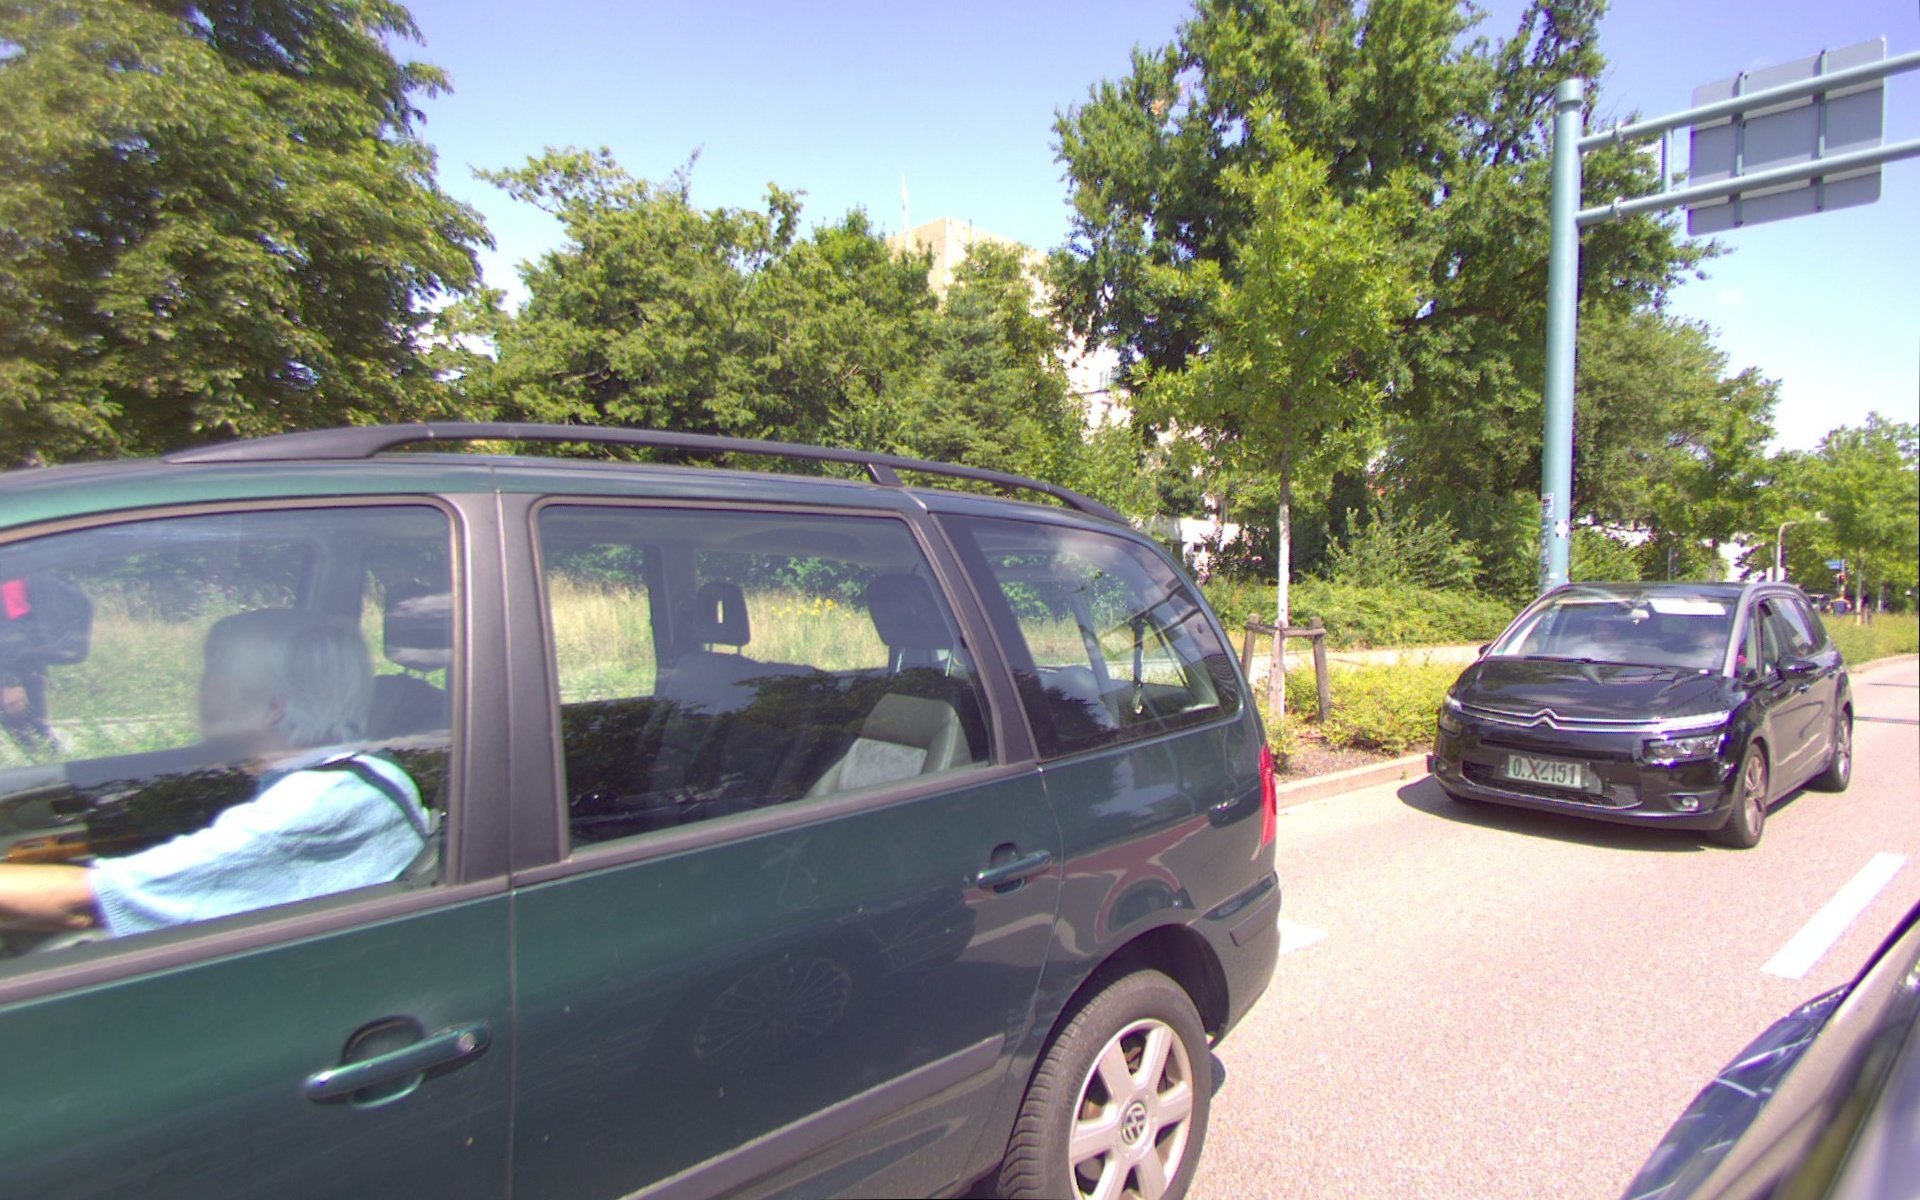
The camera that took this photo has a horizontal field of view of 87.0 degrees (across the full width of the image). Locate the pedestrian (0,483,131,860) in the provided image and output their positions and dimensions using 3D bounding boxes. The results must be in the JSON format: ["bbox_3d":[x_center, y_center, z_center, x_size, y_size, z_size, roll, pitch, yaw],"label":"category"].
[{"bbox_3d":[-4.604,0.313,4.869,0.799,1.705,0.762,1,1,-29],"label":"pedestrian"}]

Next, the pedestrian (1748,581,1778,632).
[{"bbox_3d":[33.024,0.263,41.637,0.840,2.063,0.891,1,0,33],"label":"pedestrian"}]

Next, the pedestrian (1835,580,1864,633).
[{"bbox_3d":[30.630,0.224,34.844,0.872,1.787,0.638,1,1,-45],"label":"pedestrian"}]

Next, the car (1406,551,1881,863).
[{"bbox_3d":[5.197,0.573,7.436,4.400,1.628,1.815,1,-1,-41],"label":"car"}]

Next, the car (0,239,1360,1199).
[{"bbox_3d":[-1.137,0.528,1.972,4.315,1.737,1.804,0,-1,-41],"label":"car"}]
